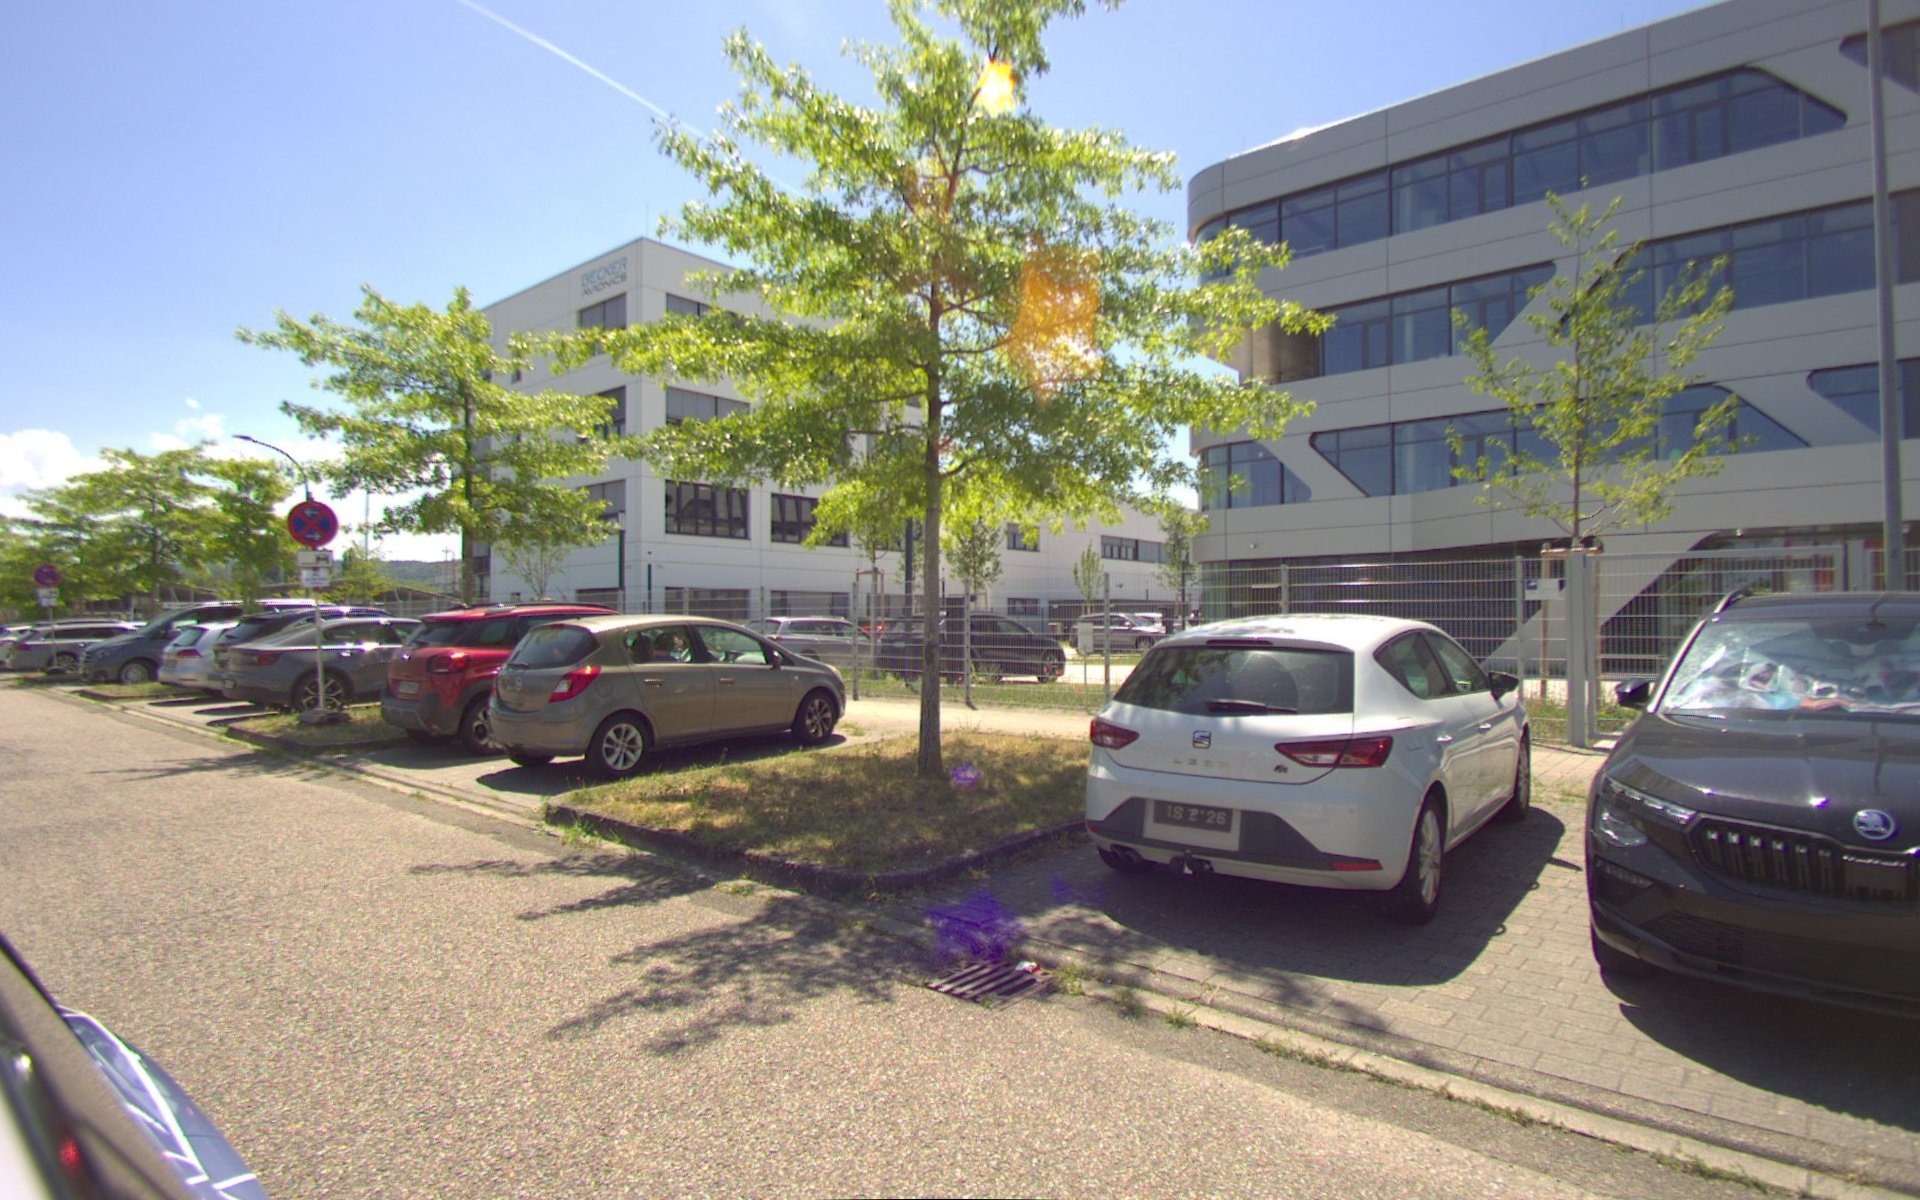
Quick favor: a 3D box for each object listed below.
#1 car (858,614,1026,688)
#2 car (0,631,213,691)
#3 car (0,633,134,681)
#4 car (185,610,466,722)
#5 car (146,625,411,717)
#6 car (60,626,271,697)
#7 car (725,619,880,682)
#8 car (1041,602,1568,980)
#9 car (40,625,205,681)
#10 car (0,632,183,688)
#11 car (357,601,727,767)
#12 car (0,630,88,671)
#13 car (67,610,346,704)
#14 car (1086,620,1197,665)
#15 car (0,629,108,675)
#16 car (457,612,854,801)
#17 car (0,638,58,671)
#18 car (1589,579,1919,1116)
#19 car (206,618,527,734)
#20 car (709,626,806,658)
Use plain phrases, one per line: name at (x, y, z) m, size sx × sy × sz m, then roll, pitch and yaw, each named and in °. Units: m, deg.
car at (-0.314, 1.081, 21.206) m, size 1.676 × 1.401 × 3.443 m, roll -2°, pitch -4°, yaw 40°
car at (-25.194, 1.745, 29.944) m, size 1.856 × 1.458 × 4.666 m, roll -2°, pitch -1°, yaw 39°
car at (-33.301, 2.092, 37.376) m, size 1.807 × 1.524 × 4.127 m, roll -4°, pitch -1°, yaw 42°
car at (-11.375, 1.092, 18.388) m, size 1.773 × 1.691 × 3.952 m, roll -2°, pitch 0°, yaw 36°
car at (-13.206, 1.305, 19.815) m, size 1.602 × 1.472 × 3.999 m, roll -2°, pitch 0°, yaw 38°
car at (-20.023, 1.489, 25.628) m, size 1.763 × 1.495 × 3.928 m, roll -2°, pitch 0°, yaw 41°
car at (-3.731, 1.201, 24.410) m, size 1.676 × 1.401 × 3.443 m, roll -2°, pitch -3°, yaw 40°
car at (2.379, 0.779, 6.198) m, size 1.871 × 1.435 × 4.038 m, roll -2°, pitch 0°, yaw 37°
car at (-28.060, 1.731, 33.985) m, size 1.727 × 1.647 × 4.073 m, roll -2°, pitch -1°, yaw 42°
car at (-27.073, 1.814, 31.539) m, size 1.725 × 1.484 × 4.269 m, roll -2°, pitch -1°, yaw 38°
car at (-4.903, 0.868, 12.204) m, size 1.816 × 1.633 × 3.698 m, roll -2°, pitch -1°, yaw 41°
car at (-40.325, 2.183, 43.735) m, size 1.728 × 1.604 × 3.862 m, roll -2°, pitch -1°, yaw 44°
car at (-17.628, 1.252, 23.898) m, size 1.997 × 1.906 × 5.015 m, roll -2°, pitch -1°, yaw 42°
car at (7.301, 1.728, 40.910) m, size 3.997 × 1.730 × 1.973 m, roll -2°, pitch -3°, yaw 41°
car at (-35.609, 2.006, 39.122) m, size 1.725 × 1.604 × 3.801 m, roll -2°, pitch -1°, yaw 38°
car at (-2.985, 0.935, 10.511) m, size 1.728 × 1.520 × 3.623 m, roll -2°, pitch -1°, yaw 37°
car at (-44.038, 2.536, 46.654) m, size 1.726 × 1.452 × 3.469 m, roll -2°, pitch -1°, yaw 40°
car at (4.004, 0.680, 4.360) m, size 1.782 × 1.532 × 3.890 m, roll -1°, pitch 0°, yaw 38°
car at (-9.455, 1.116, 16.394) m, size 1.712 × 1.491 × 4.150 m, roll -2°, pitch 0°, yaw 41°
car at (-8.489, 1.713, 42.328) m, size 3.998 × 1.237 × 1.973 m, roll -1°, pitch -2°, yaw 41°
